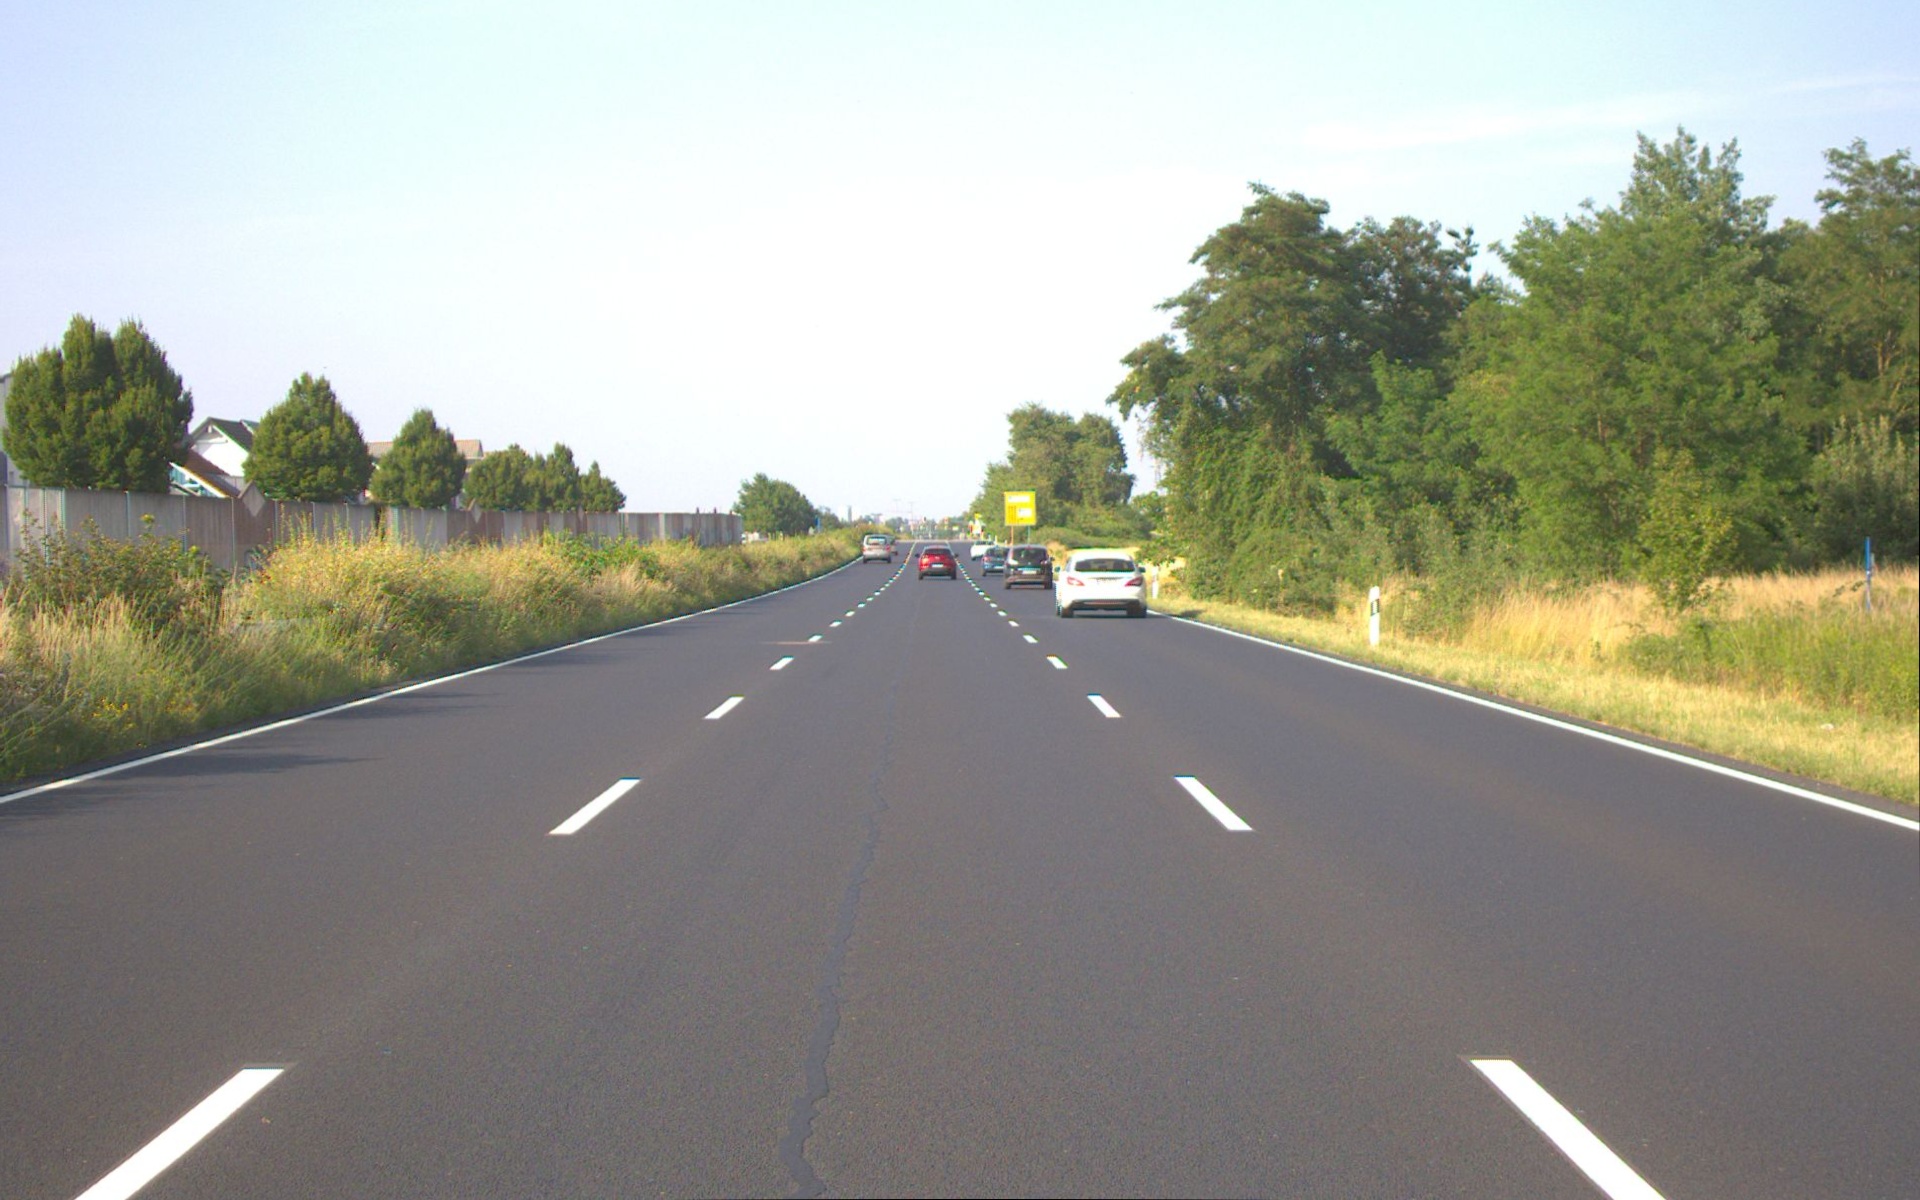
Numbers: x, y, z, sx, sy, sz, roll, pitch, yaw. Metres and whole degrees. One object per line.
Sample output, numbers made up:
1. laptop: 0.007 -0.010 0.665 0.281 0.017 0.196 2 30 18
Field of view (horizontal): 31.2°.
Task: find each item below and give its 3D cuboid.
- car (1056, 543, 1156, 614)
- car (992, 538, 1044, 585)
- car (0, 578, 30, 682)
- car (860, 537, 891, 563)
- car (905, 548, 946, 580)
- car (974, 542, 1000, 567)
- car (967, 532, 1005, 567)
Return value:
1. car: 3.183 -0.472 75.576 1.993 1.511 4.000 0 1 0
2. car: 2.149 -1.439 128.149 1.828 1.722 4.000 0 1 -1
3. car: -14.808 0.441 49.617 1.689 1.503 4.186 0 1 -1
4. car: -5.671 -3.354 229.913 1.993 1.711 4.000 0 1 -1
5. car: -1.586 -1.661 157.973 1.812 1.431 3.859 0 1 -1
6. car: 1.888 -3.189 242.463 1.847 1.744 4.000 0 1 0
7. car: 1.296 -2.510 172.122 1.834 1.711 3.862 0 1 0
